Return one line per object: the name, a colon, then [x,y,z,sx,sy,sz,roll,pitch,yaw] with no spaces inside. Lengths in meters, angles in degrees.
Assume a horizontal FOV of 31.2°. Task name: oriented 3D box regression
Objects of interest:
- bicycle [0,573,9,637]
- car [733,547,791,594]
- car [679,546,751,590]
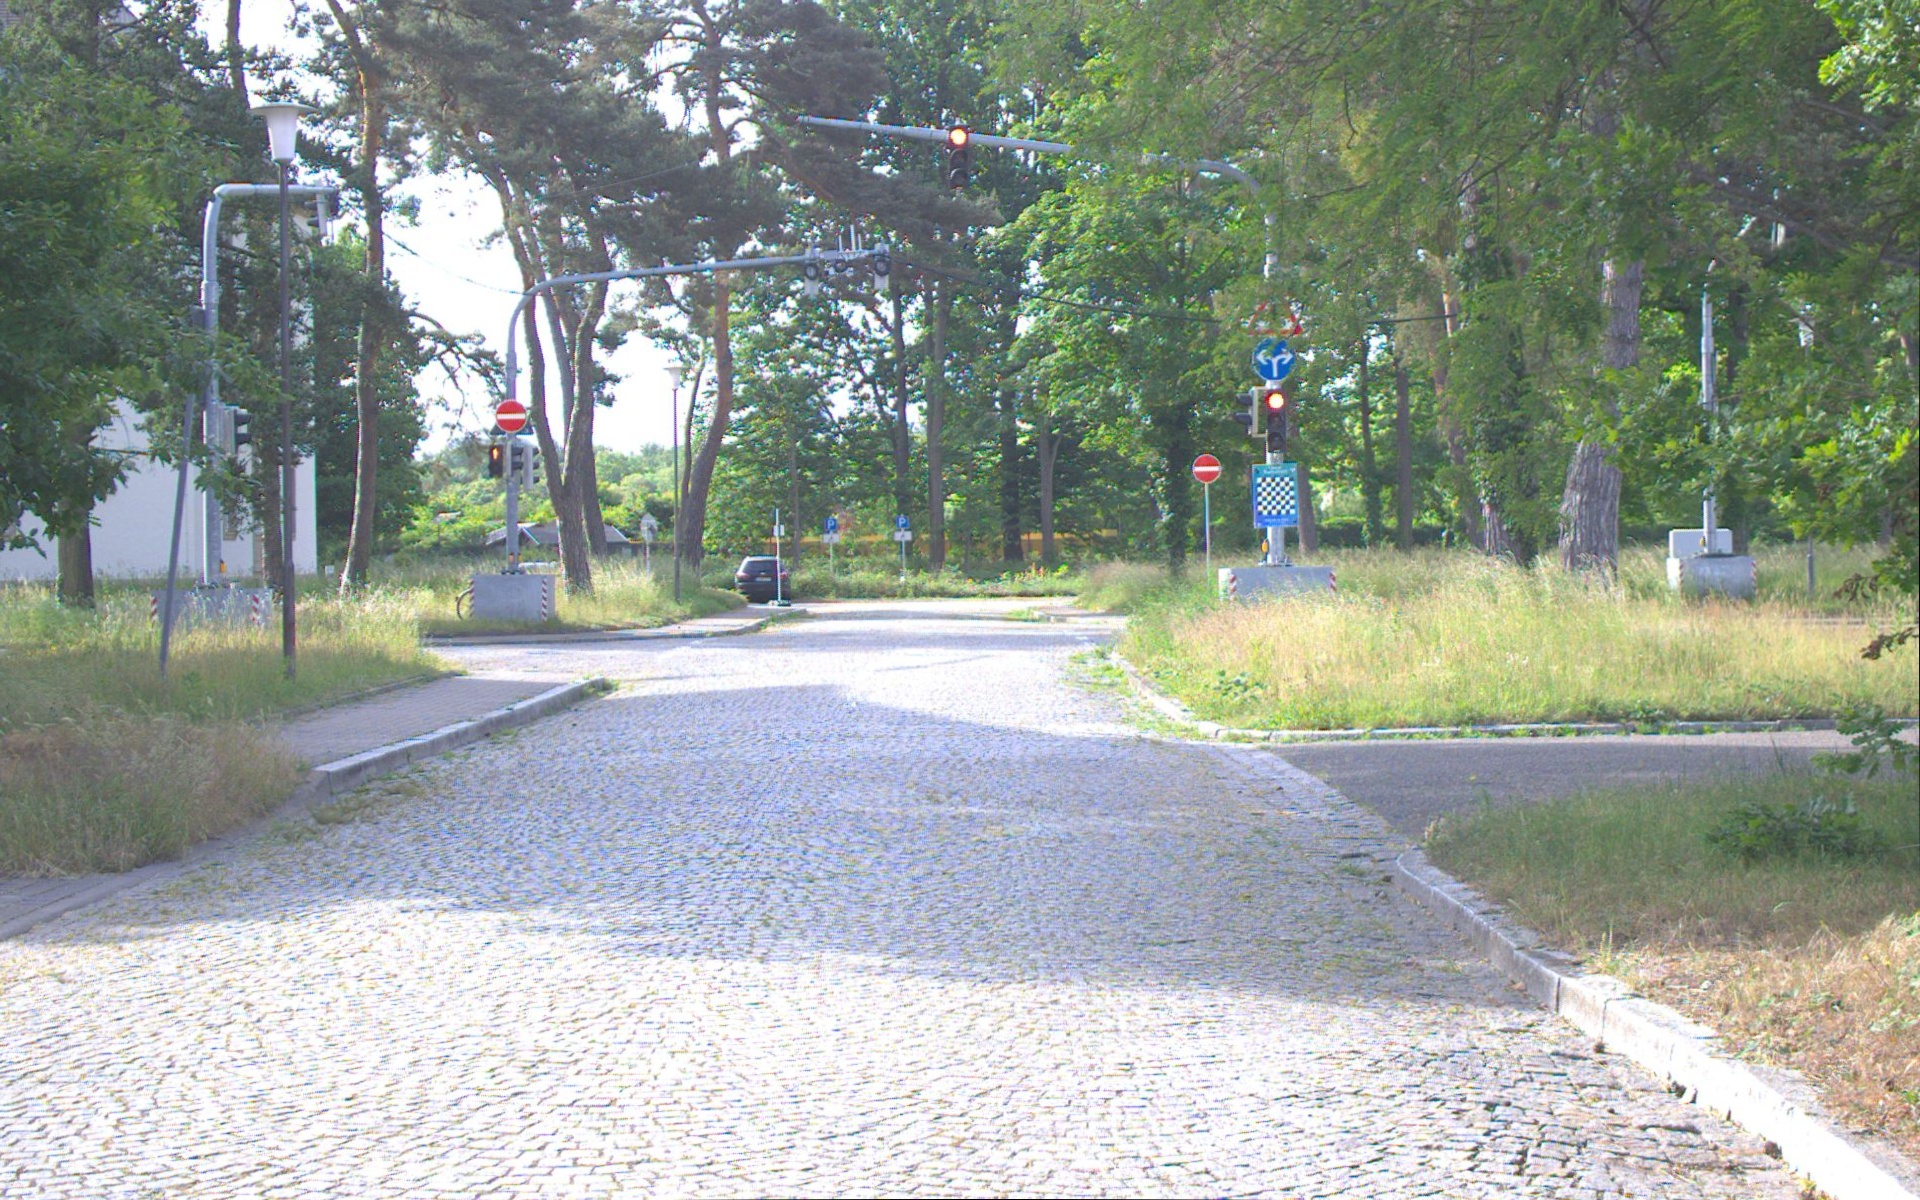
bicycle: [-16.934,0.096,56.947,2.117,1.043,0.829,-1,1,-3]
car: [-6.565,-0.993,114.283,1.845,1.481,4.001,-1,1,-2]
car: [-8.474,-1.112,119.120,1.783,1.485,3.754,-1,1,7]
